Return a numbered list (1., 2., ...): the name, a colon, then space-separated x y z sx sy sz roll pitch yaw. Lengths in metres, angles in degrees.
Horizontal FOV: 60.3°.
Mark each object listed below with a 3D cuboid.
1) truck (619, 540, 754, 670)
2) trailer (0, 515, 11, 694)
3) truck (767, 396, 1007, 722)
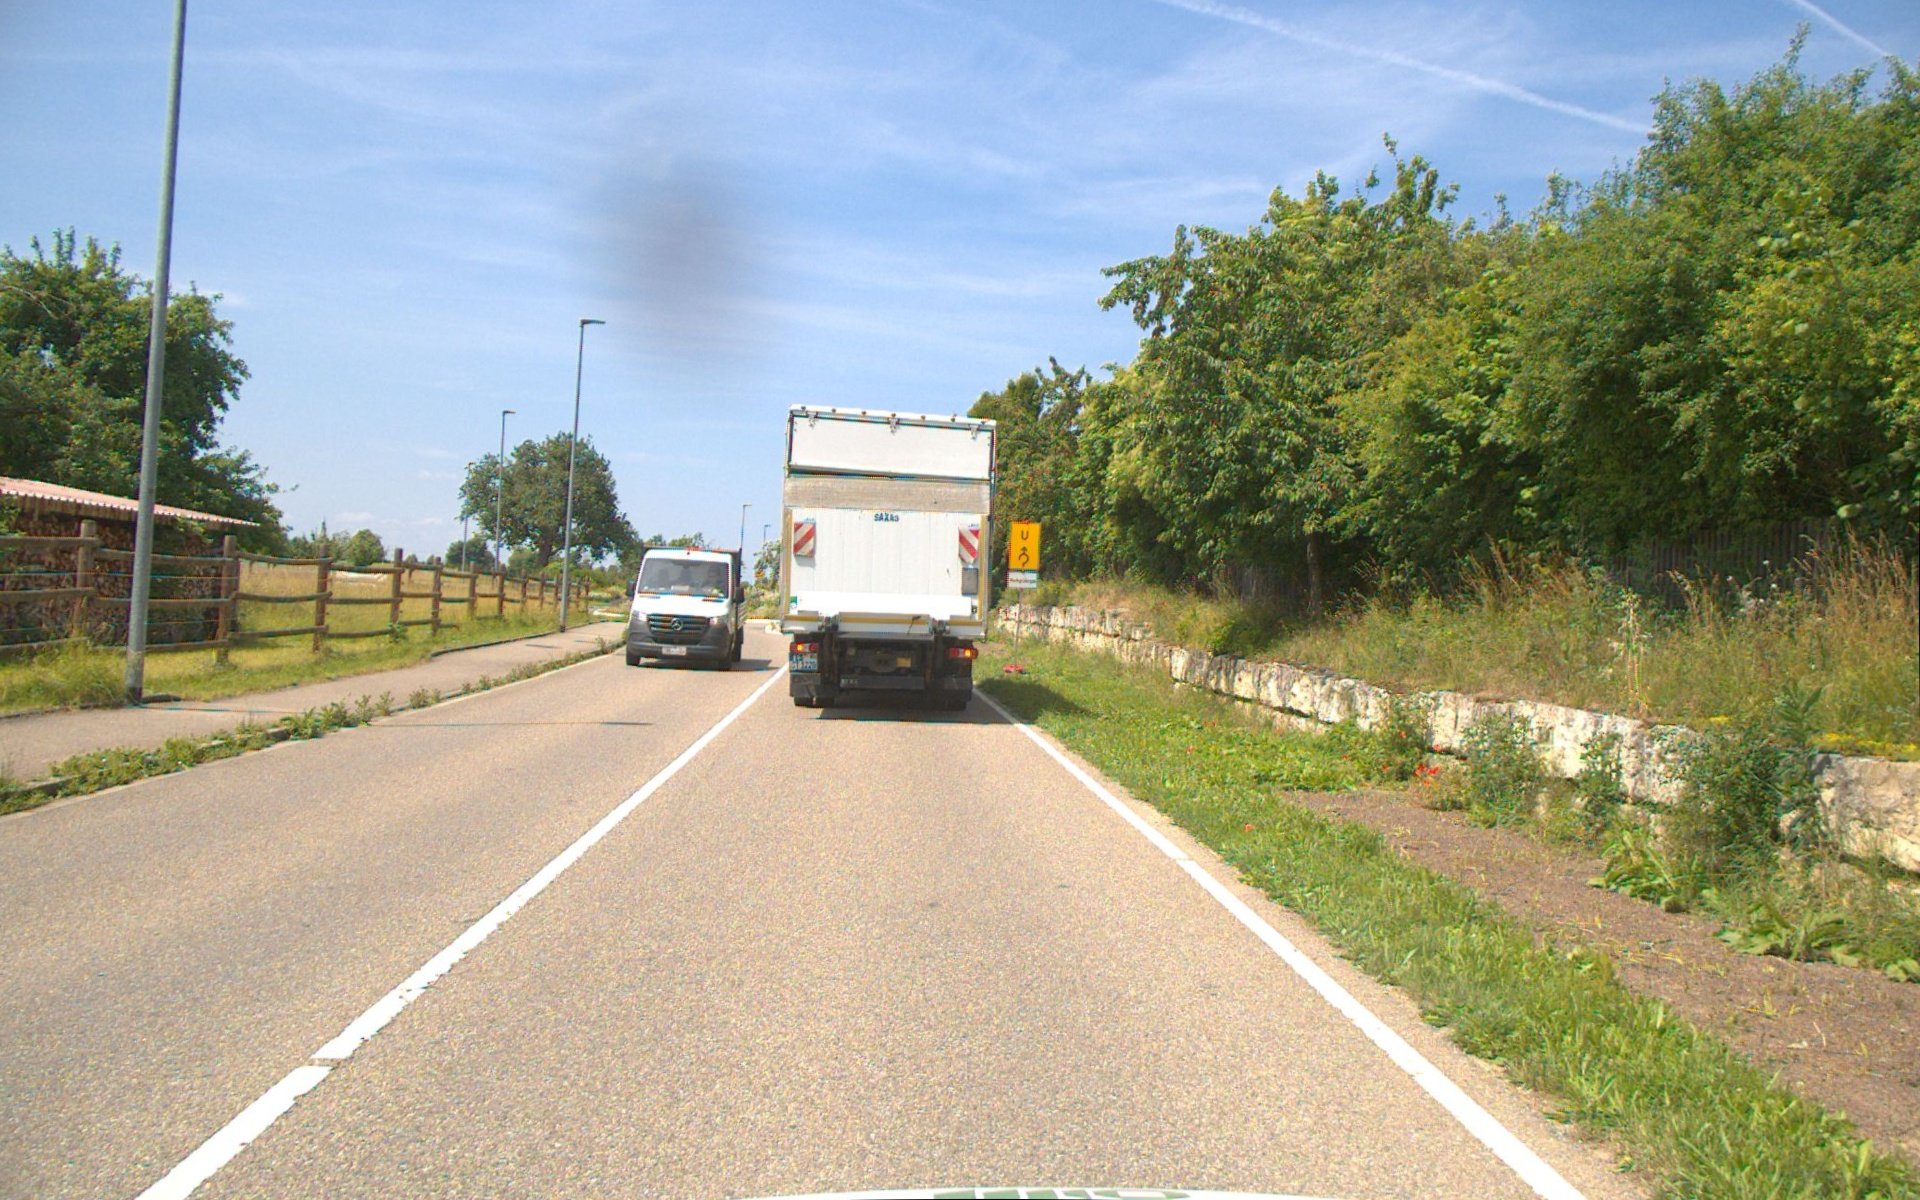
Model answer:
1. truck: -5.440 0.094 33.747 2.179 2.333 6.484 2 0 -5
2. trailer: -10.187 0.023 13.538 2.112 1.733 5.026 2 0 -3
3. truck: -1.180 -0.483 23.997 2.712 3.735 9.374 1 0 -4
